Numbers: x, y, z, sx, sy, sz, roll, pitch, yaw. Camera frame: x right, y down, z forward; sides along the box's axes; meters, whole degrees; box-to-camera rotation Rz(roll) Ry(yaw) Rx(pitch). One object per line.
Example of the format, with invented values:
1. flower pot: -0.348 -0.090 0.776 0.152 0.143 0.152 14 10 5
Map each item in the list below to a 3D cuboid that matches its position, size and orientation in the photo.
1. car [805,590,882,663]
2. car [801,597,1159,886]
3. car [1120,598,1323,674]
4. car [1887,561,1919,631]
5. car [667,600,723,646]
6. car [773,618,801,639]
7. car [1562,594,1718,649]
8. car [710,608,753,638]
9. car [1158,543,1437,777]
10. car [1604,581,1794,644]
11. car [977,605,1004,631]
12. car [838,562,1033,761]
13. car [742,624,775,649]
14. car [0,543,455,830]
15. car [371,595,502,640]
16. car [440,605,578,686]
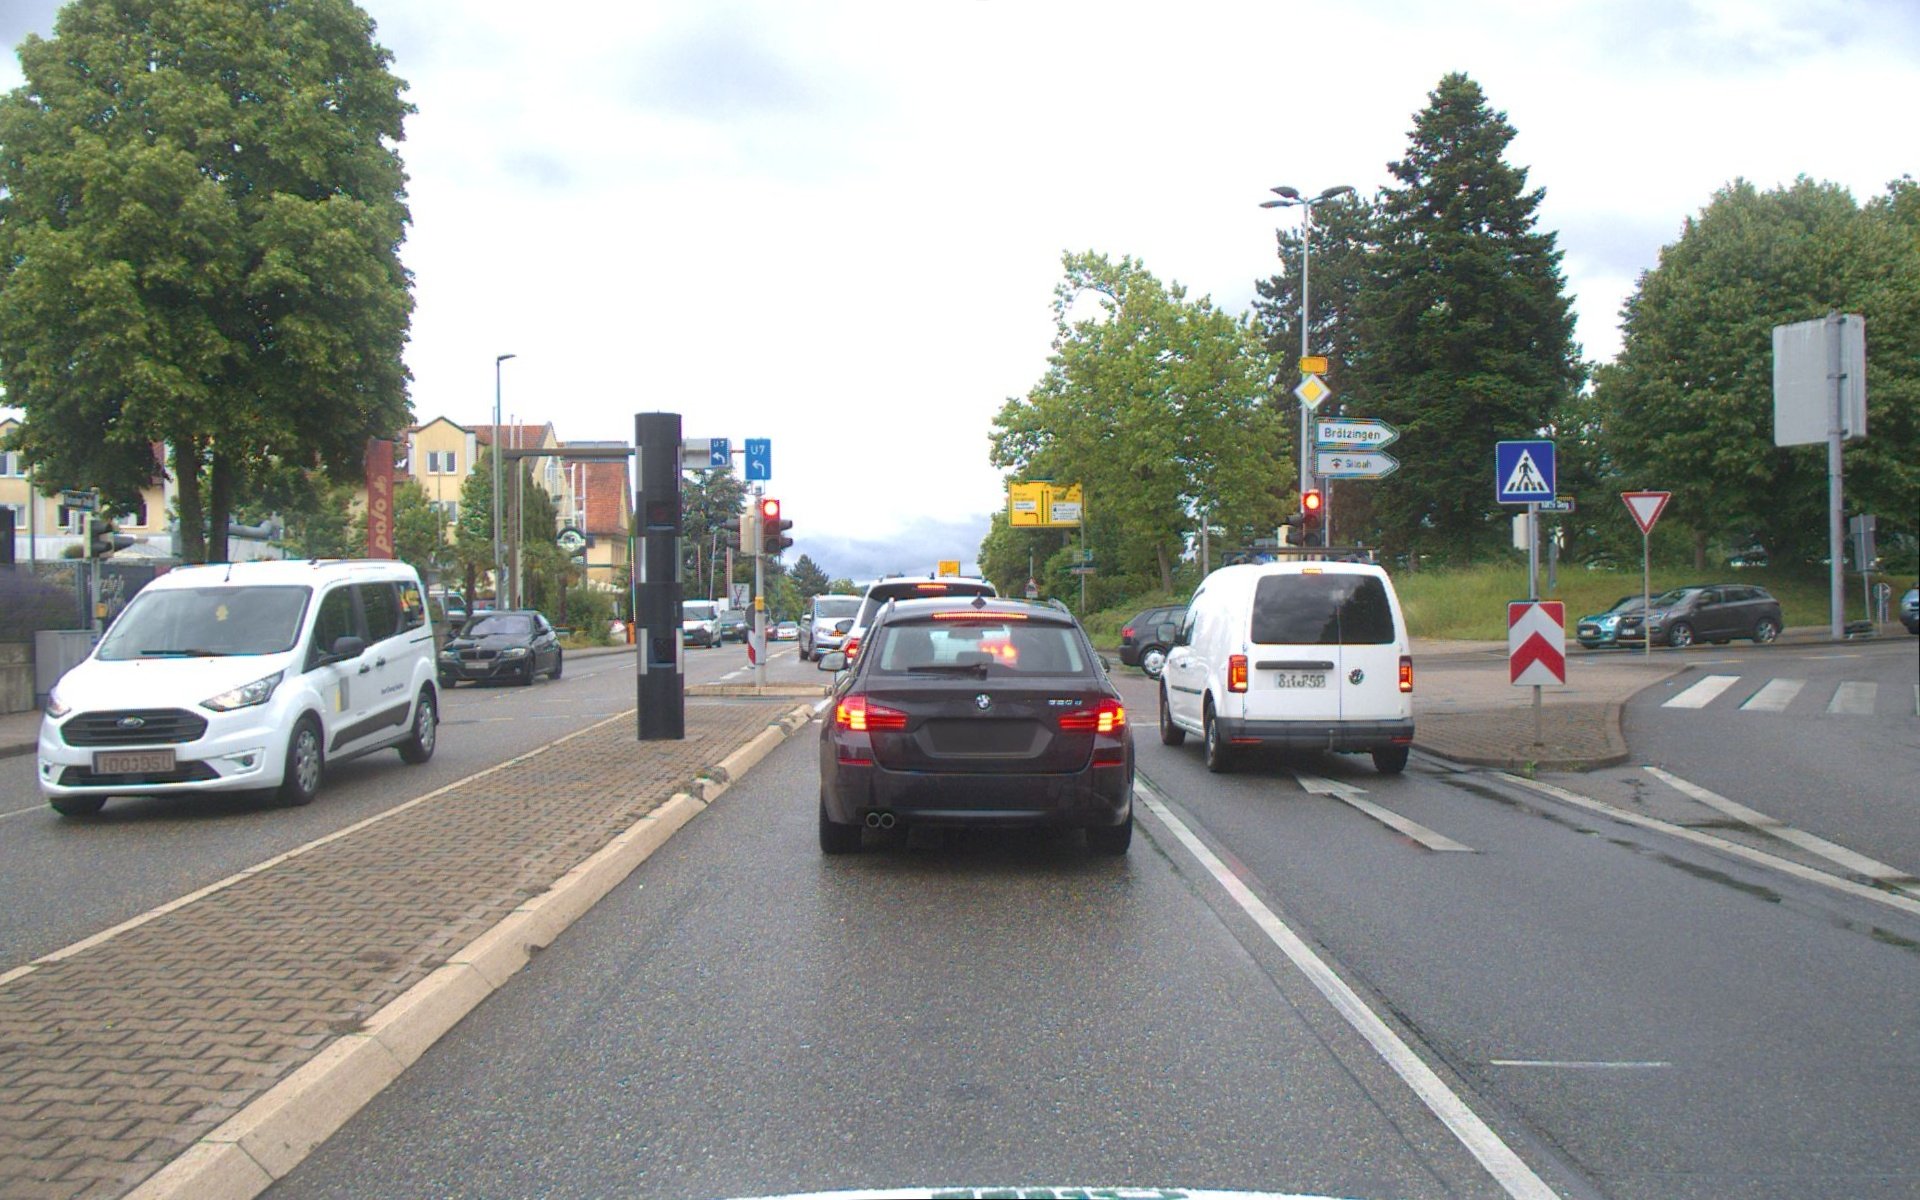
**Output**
1. car: -2.878 0.629 41.623 1.699 1.721 3.999 -1 0 -1
2. car: 0.170 0.721 10.455 1.816 1.444 3.958 1 0 2
3. car: 5.350 0.724 34.214 3.998 1.481 1.902 0 0 4
4. car: 28.185 -0.139 46.087 4.672 1.883 1.884 -1 2 -28
5. car: -10.267 0.858 64.227 1.634 1.699 3.682 -1 0 -1
6. car: -12.107 1.994 116.022 1.634 1.377 3.442 -1 0 -1
7. car: 18.880 0.585 45.948 3.927 1.316 1.600 -2 1 -19
8. car: -11.070 1.094 80.340 1.634 1.377 3.442 -1 0 -1
9. car: 3.004 0.497 15.509 1.706 1.902 3.944 0 0 -2
10. car: 19.006 0.293 42.563 4.245 1.492 1.893 -1 0 -15
11. car: 1.870 1.085 101.417 1.567 1.395 3.681 -1 2 1
12. car: -0.146 0.532 16.351 1.692 1.741 3.384 1 0 3
13. car: -12.008 2.174 98.665 1.634 1.377 3.442 -1 0 -1
14. car: -5.683 0.582 13.462 1.820 1.855 4.577 -2 0 -2
15. car: -18.359 0.587 58.047 4.146 1.481 1.784 -1 0 -28
16. car: -8.726 0.843 32.325 1.634 1.406 4.071 -1 0 -1
